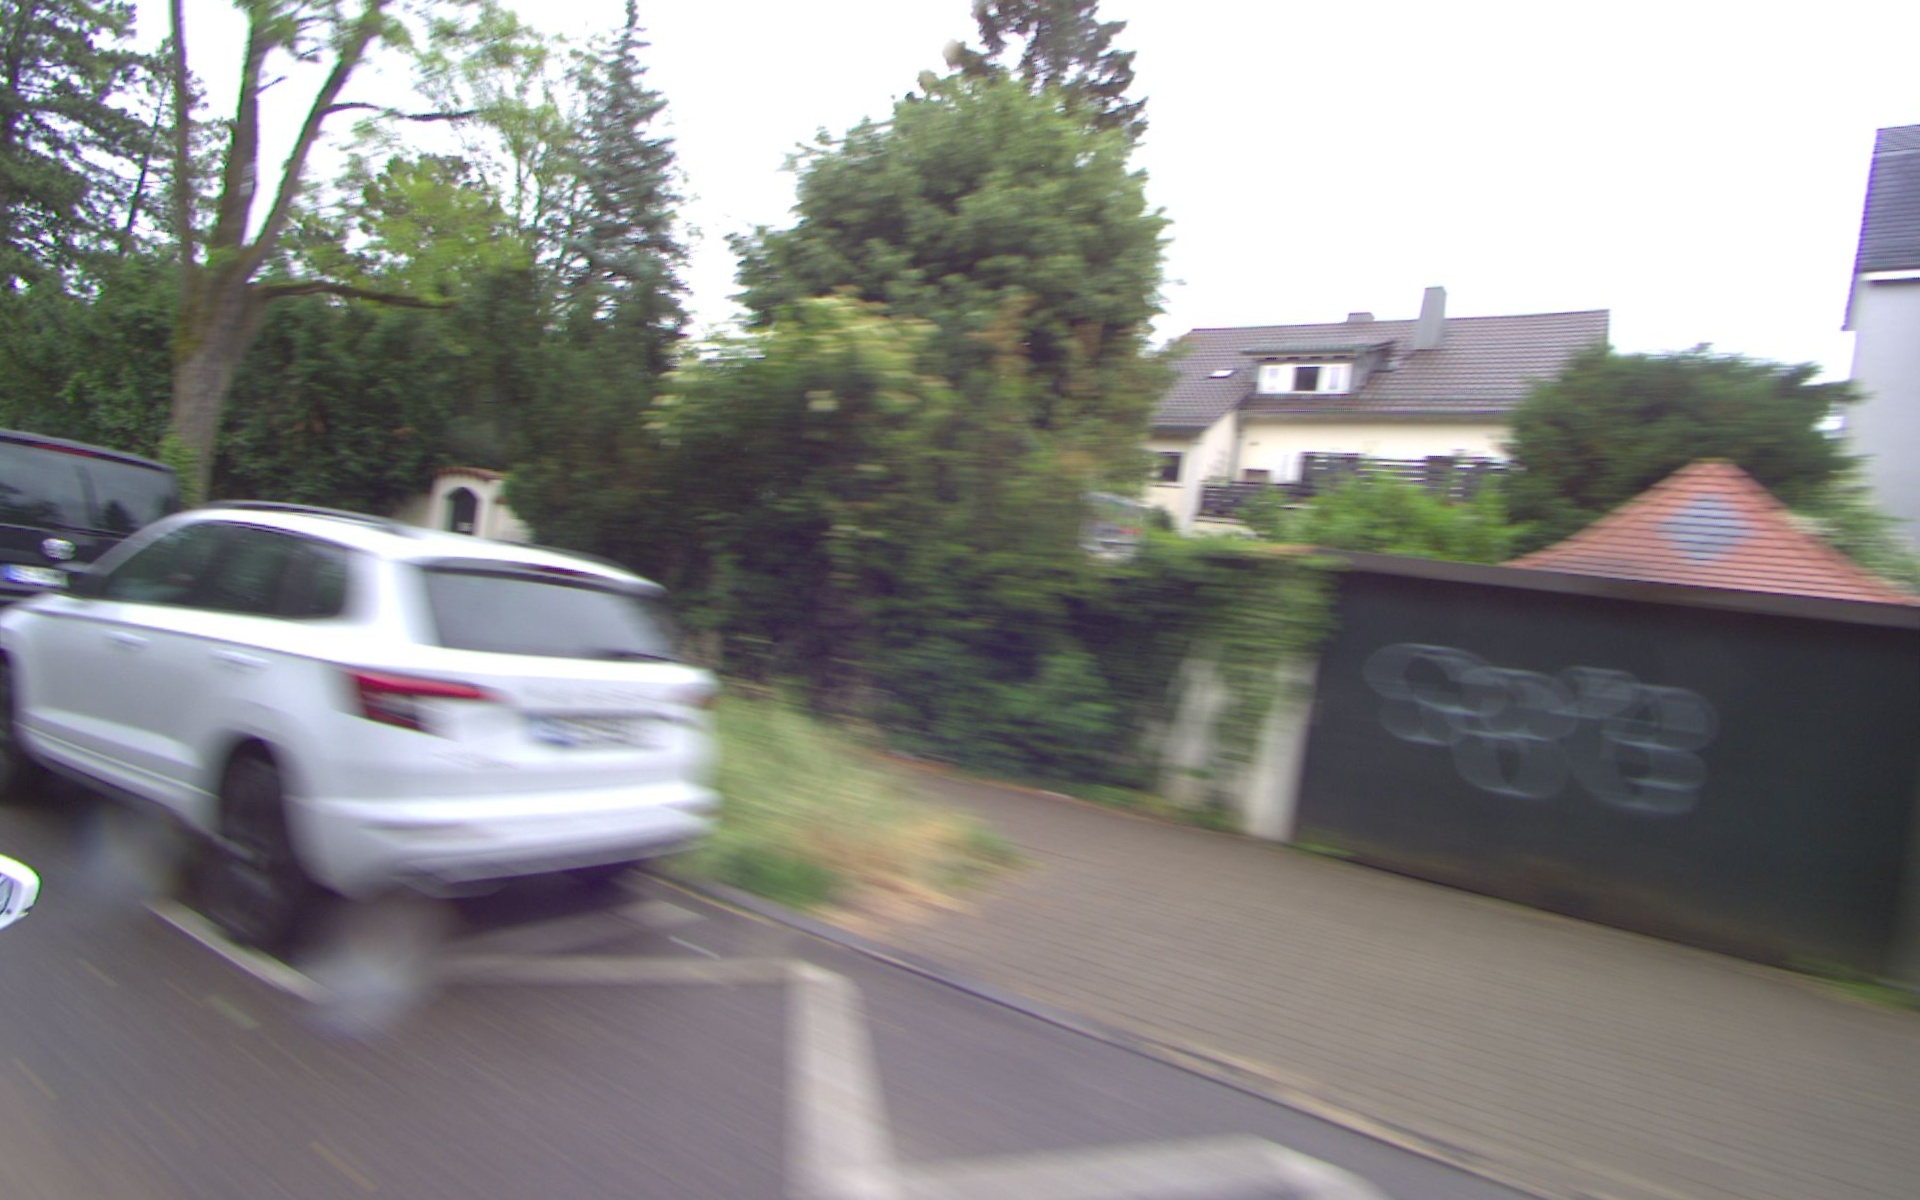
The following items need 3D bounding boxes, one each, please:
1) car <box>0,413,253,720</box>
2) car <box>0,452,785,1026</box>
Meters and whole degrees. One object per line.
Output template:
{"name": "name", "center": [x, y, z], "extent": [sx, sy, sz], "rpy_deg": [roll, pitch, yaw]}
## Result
{"name": "car", "center": [-8.259, -0.450, 8.371], "extent": [4.807, 2.037, 1.998], "rpy_deg": [8, -1, 32]}
{"name": "car", "center": [-3.163, 0.345, 4.953], "extent": [4.214, 1.631, 1.809], "rpy_deg": [8, -1, 31]}
